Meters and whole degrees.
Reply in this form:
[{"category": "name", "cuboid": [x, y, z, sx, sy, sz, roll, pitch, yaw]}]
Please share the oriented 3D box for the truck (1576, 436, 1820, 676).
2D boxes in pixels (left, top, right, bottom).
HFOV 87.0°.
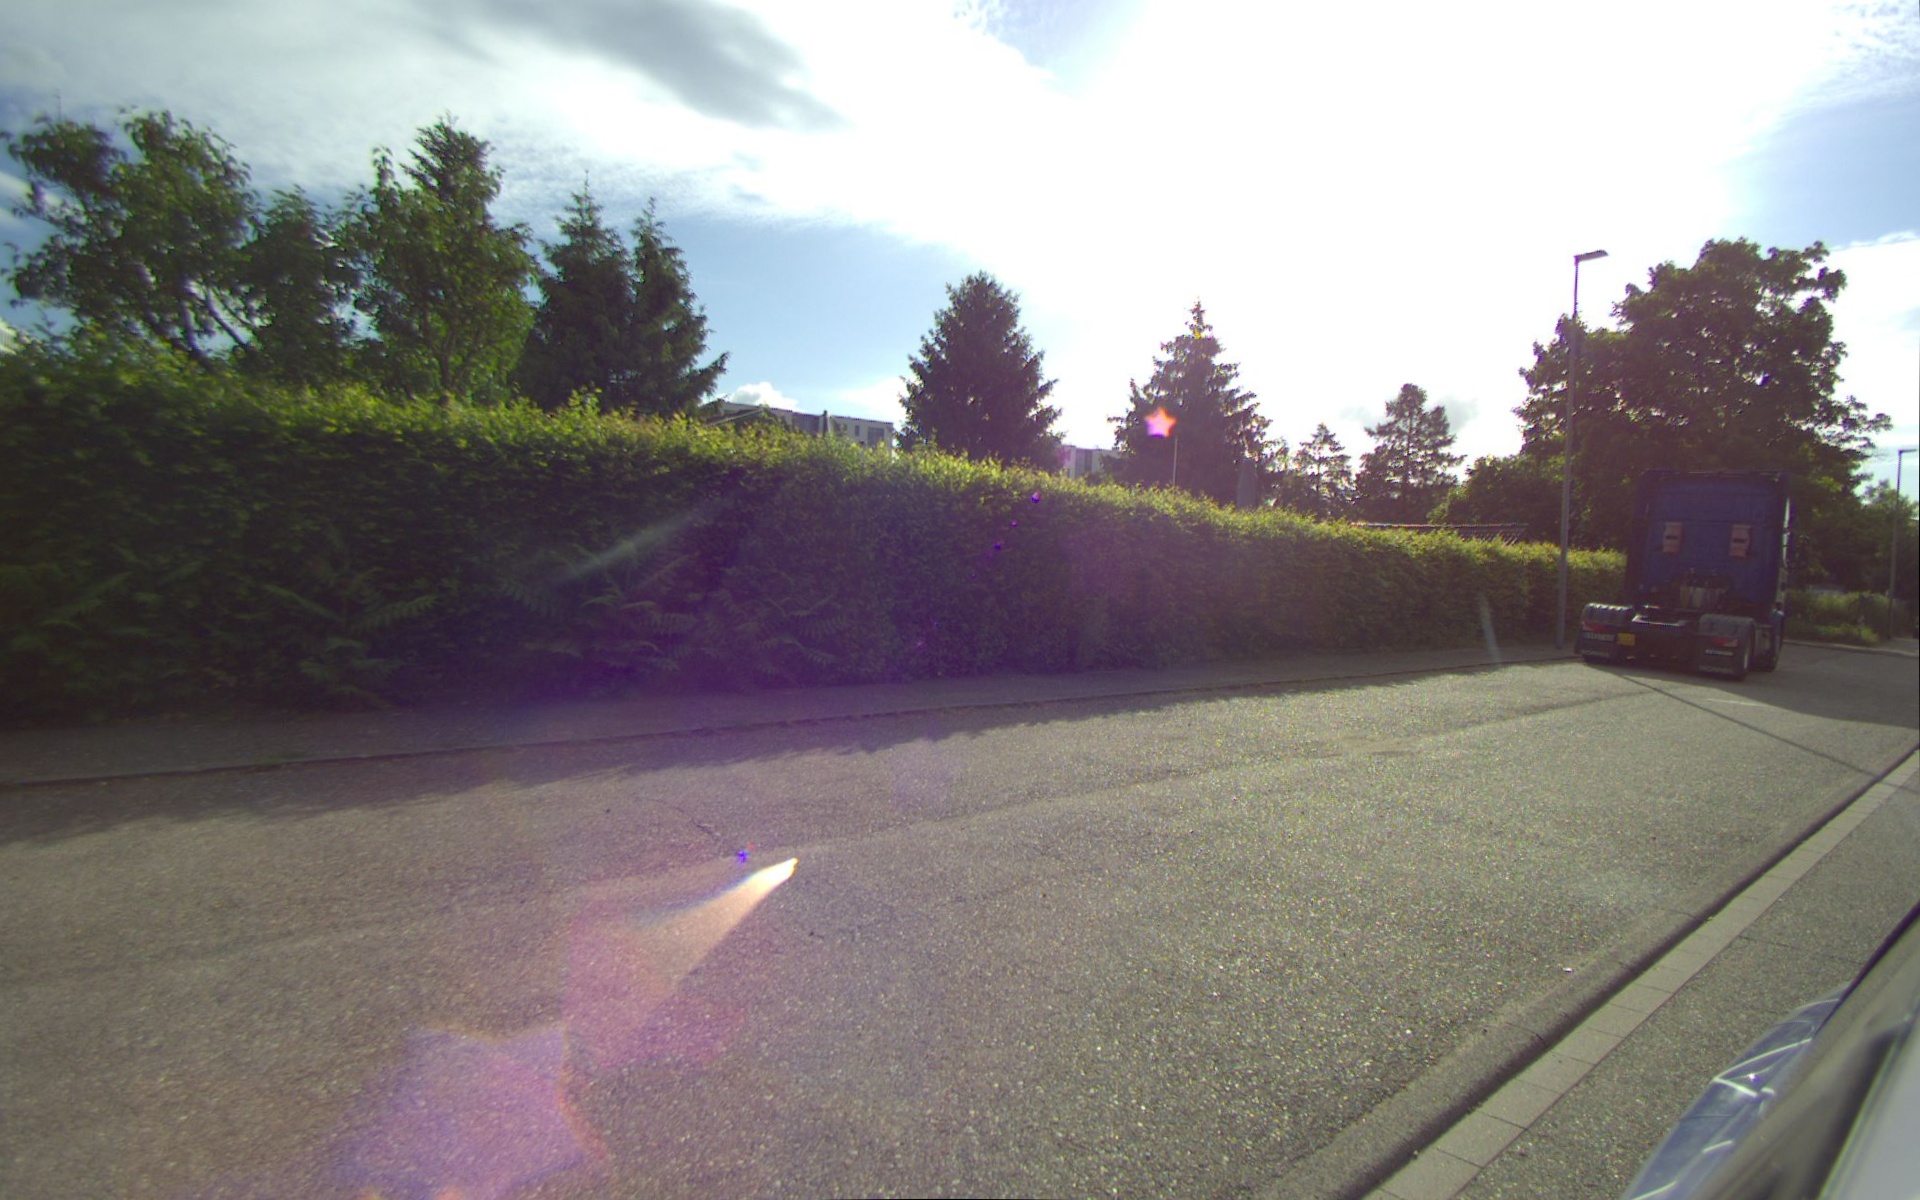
[{"category": "truck", "cuboid": [14.716, -0.838, 19.999, 6.180, 4.005, 2.599, 1, 5, -45]}]
